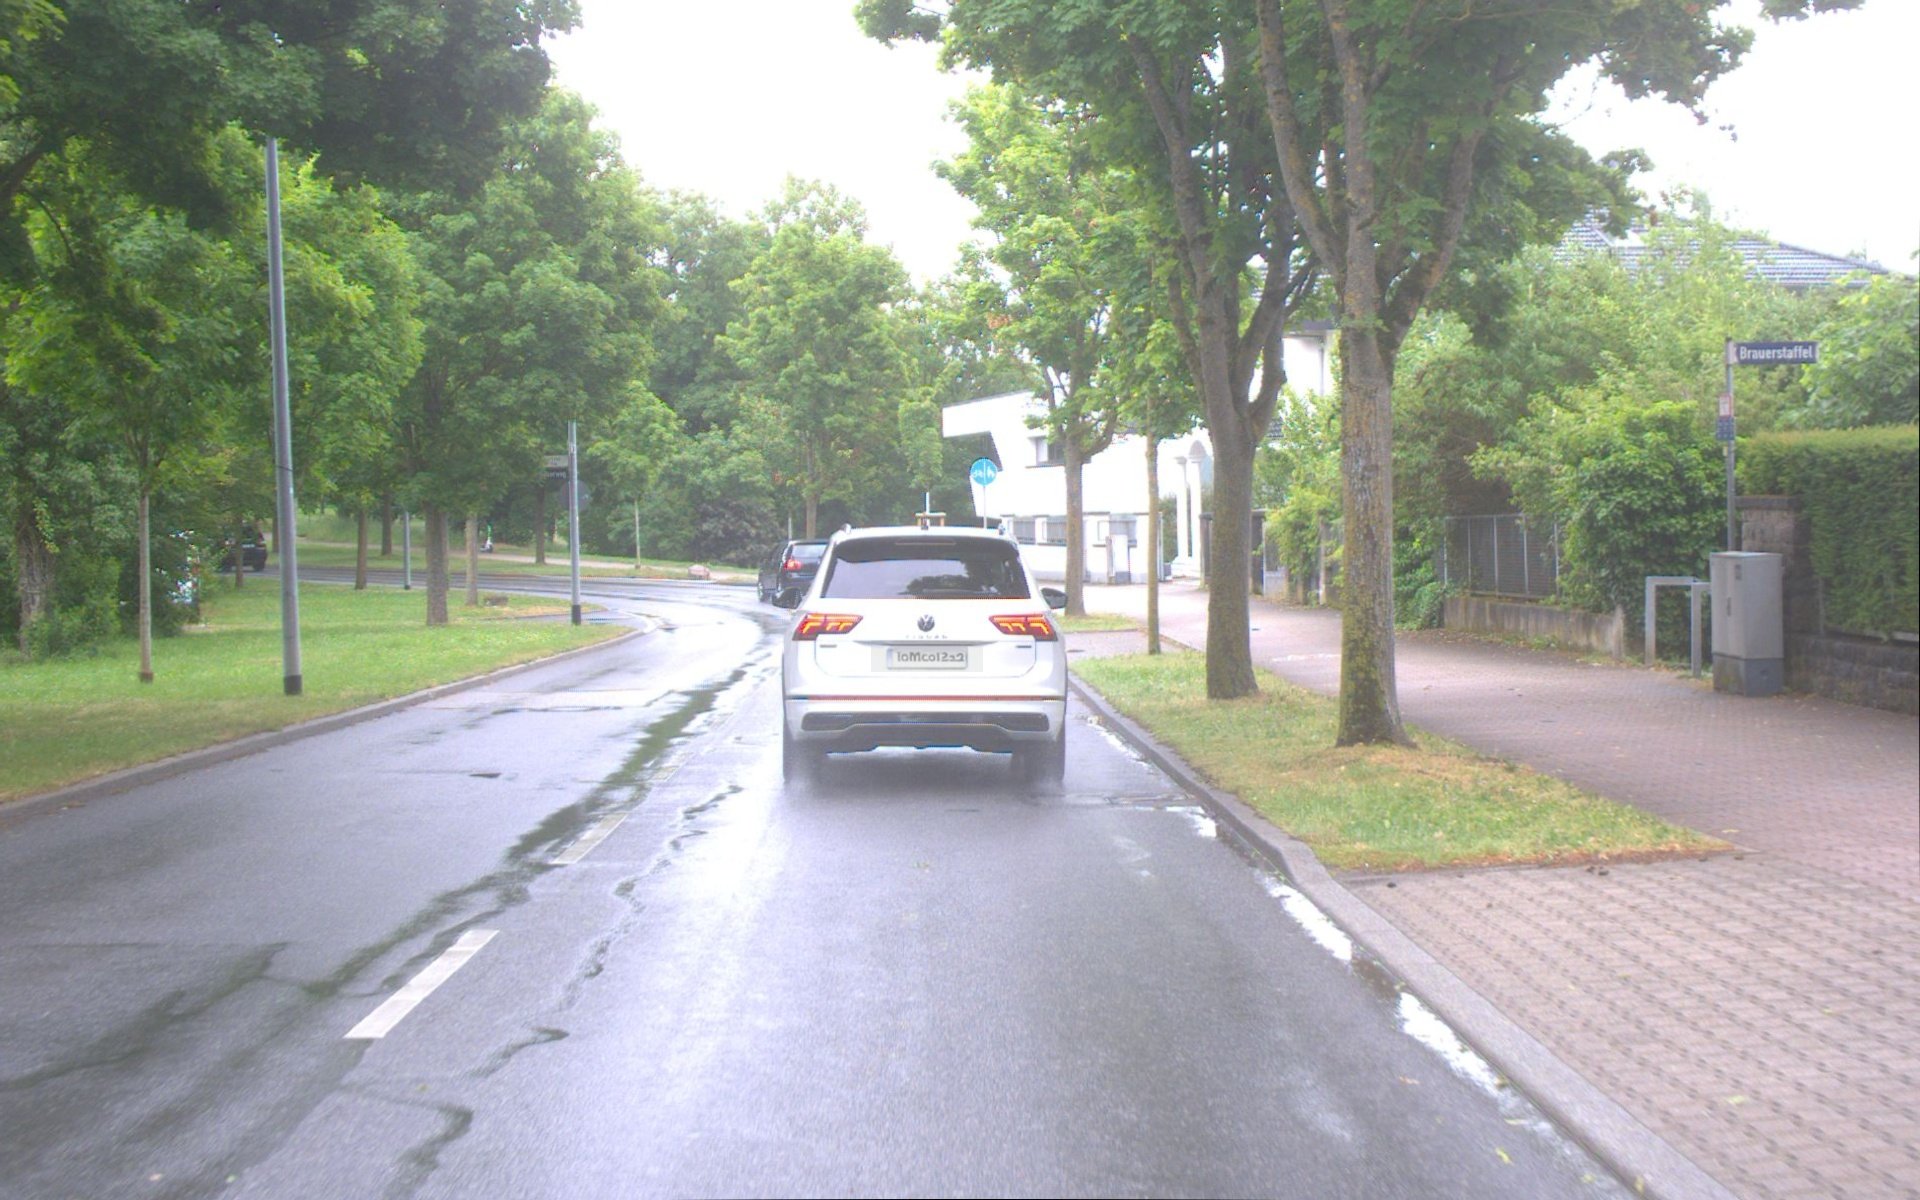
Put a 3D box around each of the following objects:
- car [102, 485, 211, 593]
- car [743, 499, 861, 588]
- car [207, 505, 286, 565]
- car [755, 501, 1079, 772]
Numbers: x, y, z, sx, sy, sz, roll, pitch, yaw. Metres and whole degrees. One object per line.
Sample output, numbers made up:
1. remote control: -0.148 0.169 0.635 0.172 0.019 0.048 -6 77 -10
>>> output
1. car: -17.672 -1.388 75.786 2.127 1.979 5.477 -3 5 -12
2. car: -3.728 -1.327 80.350 1.900 2.007 3.946 1 1 -15
3. car: -24.901 -2.279 119.911 1.900 2.007 3.945 0 1 -24
4. car: -0.268 0.166 23.166 1.974 1.647 4.177 0 2 0
